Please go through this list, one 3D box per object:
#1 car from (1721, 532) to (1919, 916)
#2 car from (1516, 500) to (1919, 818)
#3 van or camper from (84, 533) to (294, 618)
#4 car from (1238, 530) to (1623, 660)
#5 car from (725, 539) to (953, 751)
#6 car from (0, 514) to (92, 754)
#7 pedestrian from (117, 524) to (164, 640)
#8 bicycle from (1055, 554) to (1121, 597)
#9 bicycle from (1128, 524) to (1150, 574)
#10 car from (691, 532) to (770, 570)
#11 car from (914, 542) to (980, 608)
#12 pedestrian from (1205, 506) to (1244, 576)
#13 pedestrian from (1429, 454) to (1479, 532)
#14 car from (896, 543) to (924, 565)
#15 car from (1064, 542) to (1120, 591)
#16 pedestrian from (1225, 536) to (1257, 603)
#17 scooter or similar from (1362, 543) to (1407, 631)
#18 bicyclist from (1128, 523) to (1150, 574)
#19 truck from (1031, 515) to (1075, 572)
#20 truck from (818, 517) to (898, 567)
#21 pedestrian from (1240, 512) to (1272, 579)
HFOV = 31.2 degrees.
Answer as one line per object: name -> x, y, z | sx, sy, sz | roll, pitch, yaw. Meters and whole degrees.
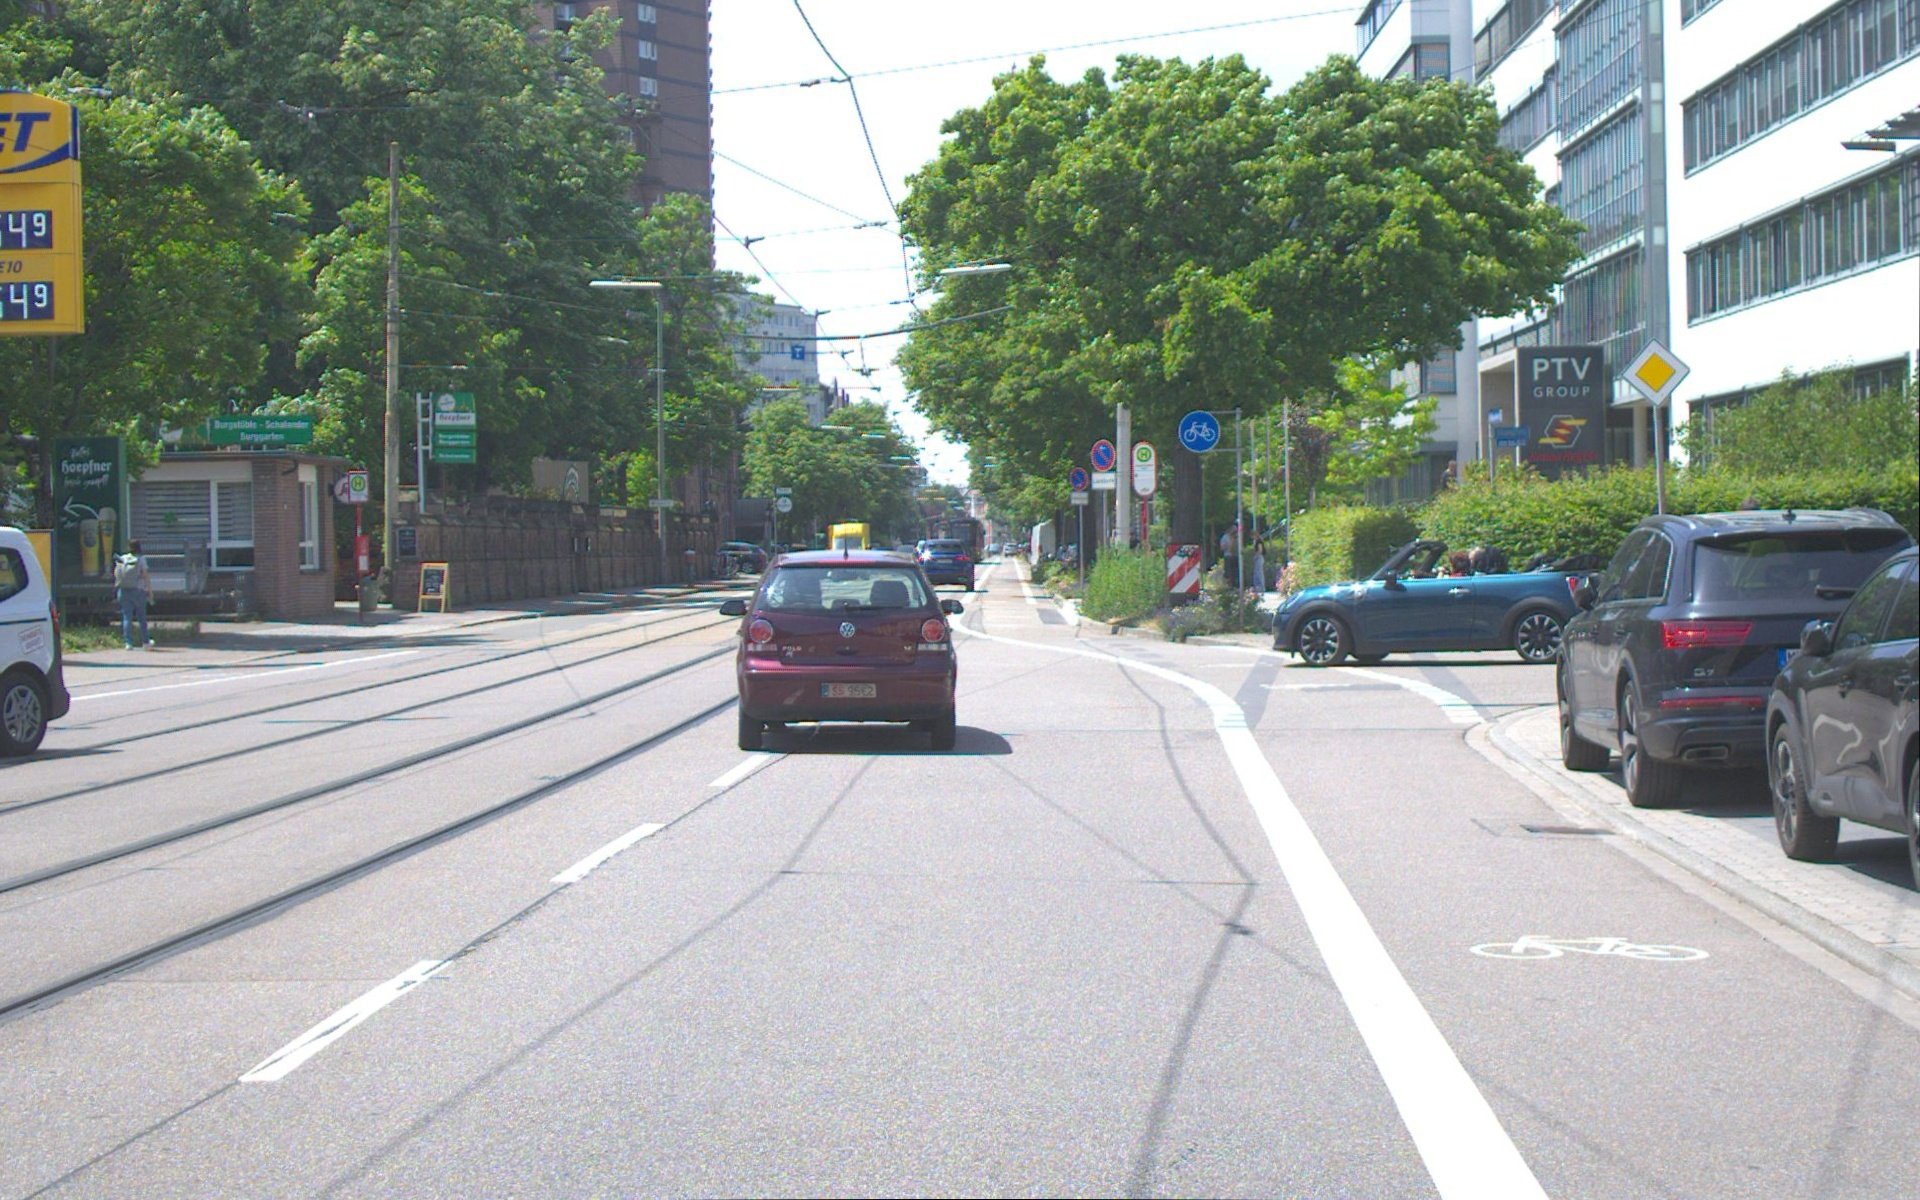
car -> 4.769, 0.450, 15.391 | 1.772, 1.543, 4.467 | -3, 1, 1
car -> 4.809, 0.273, 21.605 | 1.924, 1.687, 5.082 | -3, 1, 2
van or camper -> -15.446, -0.509, 69.028 | 3.784, 1.623, 1.871 | 0, 2, 1
car -> 5.250, -0.057, 38.387 | 3.919, 1.367, 1.701 | -1, 1, 26
car -> -0.883, 0.286, 26.565 | 1.619, 1.481, 4.000 | 0, 1, -1
car -> -8.573, 0.286, 25.034 | 1.996, 1.793, 4.547 | 0, 1, 23
pedestrian -> -12.707, -0.284, 53.304 | 0.580, 1.769, 0.700 | 0, 1, -2
bicycle -> 3.713, -0.712, 99.682 | 1.883, 1.178, 0.694 | -1, 0, 1
bicycle -> 6.527, -1.852, 125.220 | 0.690, 1.779, 1.810 | -2, 0, 4
car -> -12.371, -2.655, 185.617 | 3.987, 2.007, 2.000 | -1, 1, 5
car -> -0.435, -0.819, 108.941 | 1.993, 2.007, 4.000 | 0, 1, -1
pedestrian -> 6.894, -1.550, 89.755 | 0.677, 1.790, 0.675 | -3, 1, -30
pedestrian -> 11.229, -2.428, 78.143 | 0.874, 1.709, 1.089 | -2, 0, 18
car -> -3.511, -3.257, 242.120 | 1.770, 1.510, 4.000 | -1, 1, 1
car -> 4.289, -1.093, 112.242 | 1.688, 1.498, 3.627 | -2, 1, 1
pedestrian -> 7.261, -0.794, 88.851 | 0.537, 1.709, 0.566 | -3, 0, -28
scooter or similar -> 5.974, -0.190, 48.365 | 0.326, 1.218, 1.150 | 1, 1, 22
bicyclist -> 6.531, -1.870, 125.218 | 0.696, 1.793, 0.887 | -2, 0, 4
truck -> 4.358, -2.682, 161.997 | 1.993, 2.652, 4.875 | 0, 1, 1
truck -> -5.831, -3.367, 197.161 | 2.371, 2.777, 7.314 | -1, 1, 16
pedestrian -> 7.689, -1.428, 89.430 | 0.537, 1.709, 0.566 | -3, 0, -28
